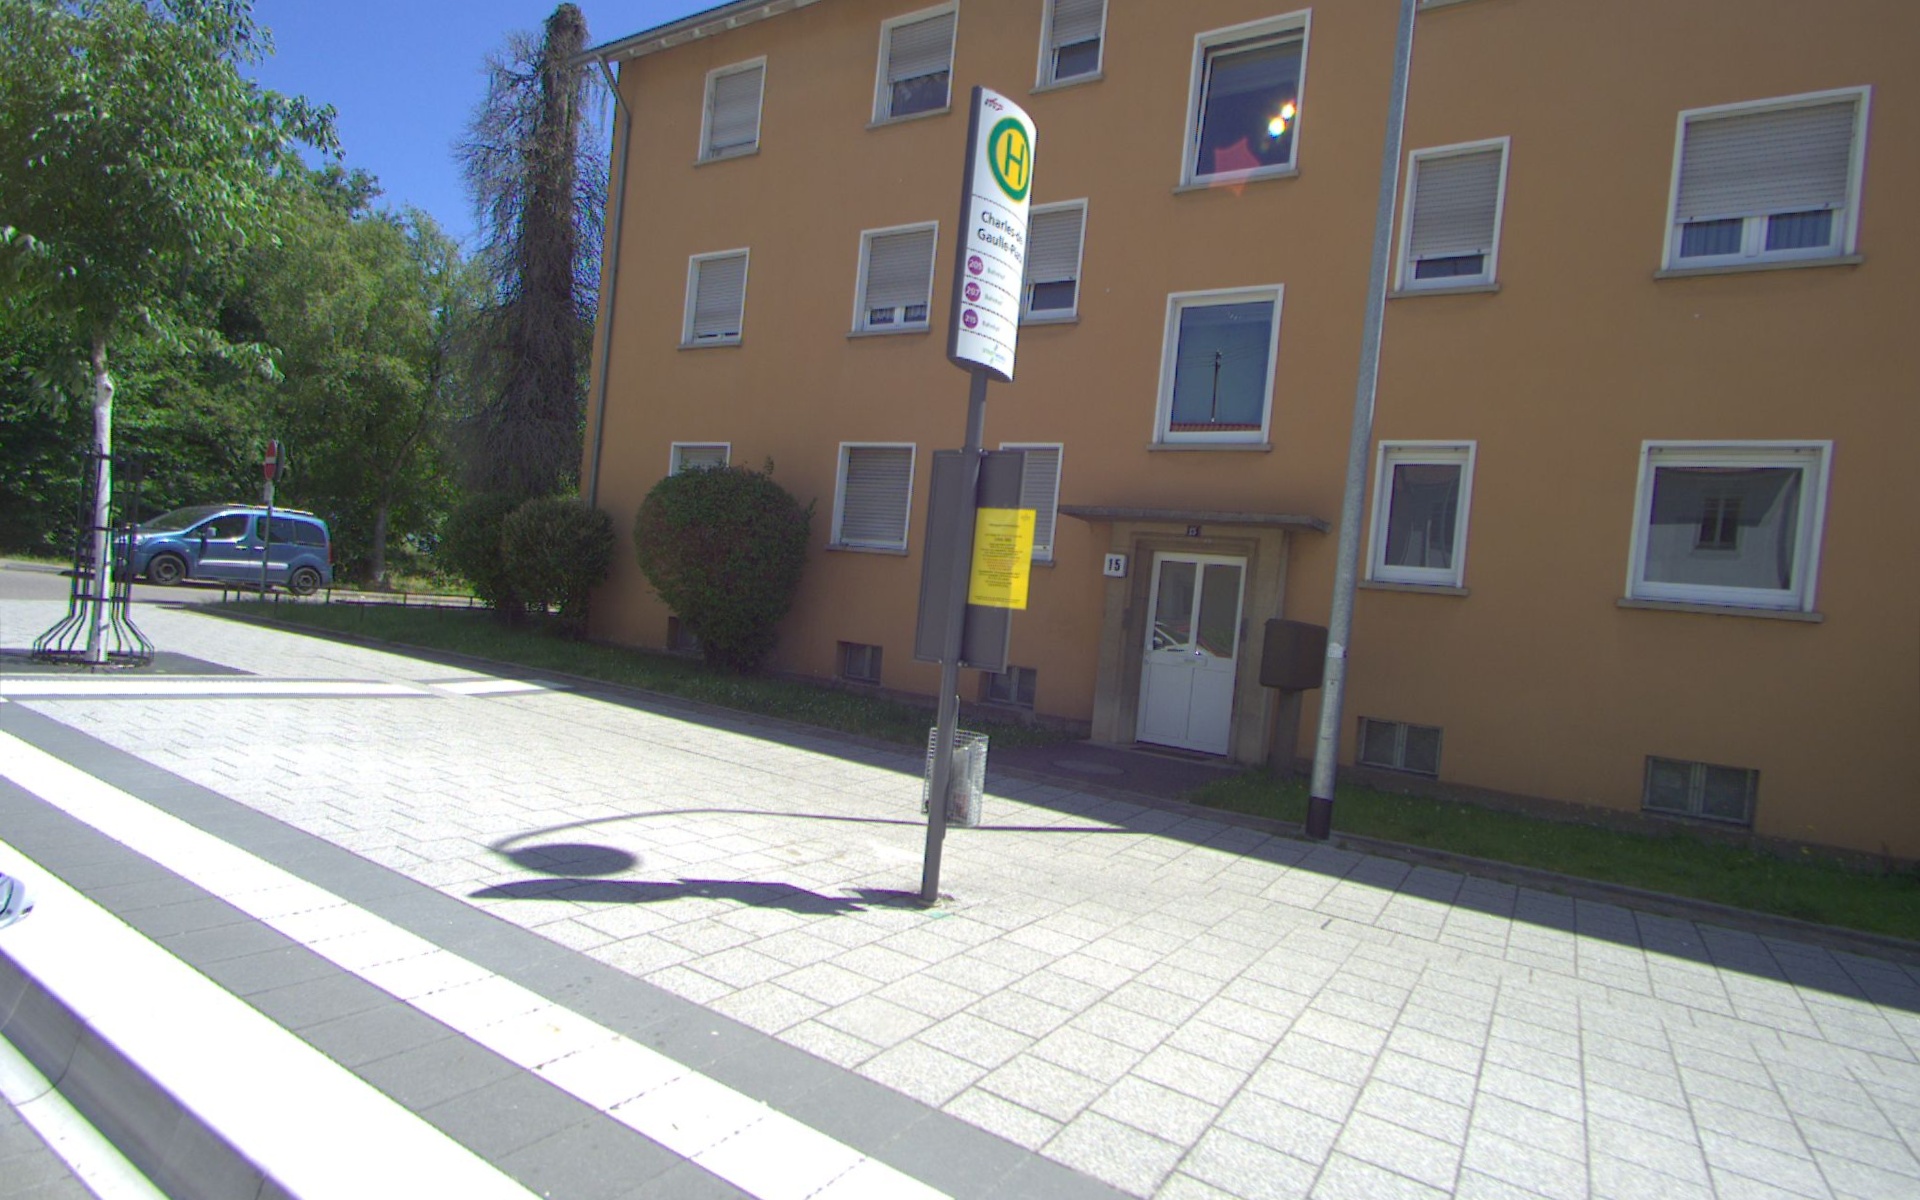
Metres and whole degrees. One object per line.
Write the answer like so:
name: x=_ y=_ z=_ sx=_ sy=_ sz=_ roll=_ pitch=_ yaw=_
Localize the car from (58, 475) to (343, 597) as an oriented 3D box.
car: x=-15.643 y=-1.242 z=21.036 sx=1.718 sy=1.860 sz=4.352 roll=6 pitch=-2 yaw=23
